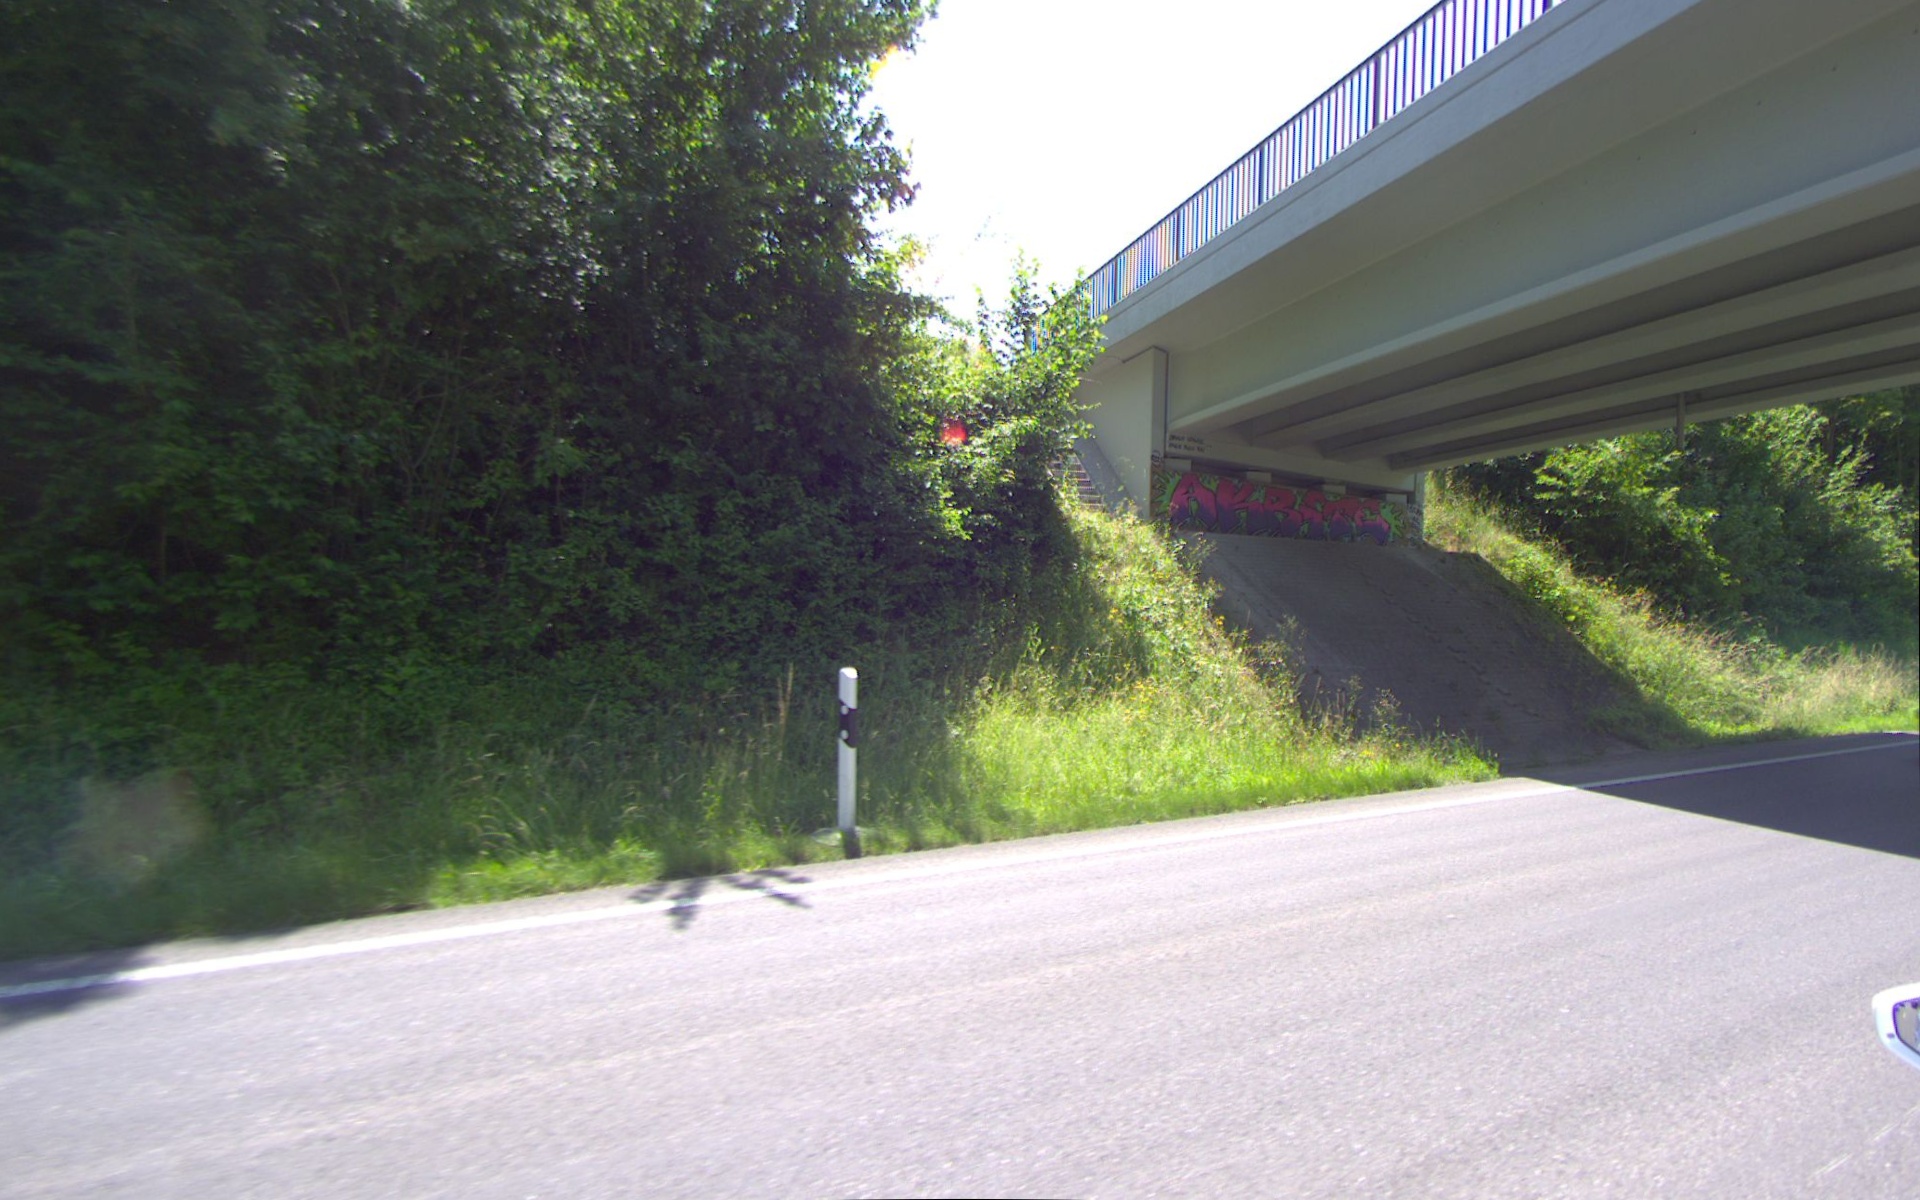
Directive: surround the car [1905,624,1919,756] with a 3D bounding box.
[{"bbox_3d":[13.413,1.097,12.057,4.534,1.525,1.850,2,-1,-31],"label":"car"}]
